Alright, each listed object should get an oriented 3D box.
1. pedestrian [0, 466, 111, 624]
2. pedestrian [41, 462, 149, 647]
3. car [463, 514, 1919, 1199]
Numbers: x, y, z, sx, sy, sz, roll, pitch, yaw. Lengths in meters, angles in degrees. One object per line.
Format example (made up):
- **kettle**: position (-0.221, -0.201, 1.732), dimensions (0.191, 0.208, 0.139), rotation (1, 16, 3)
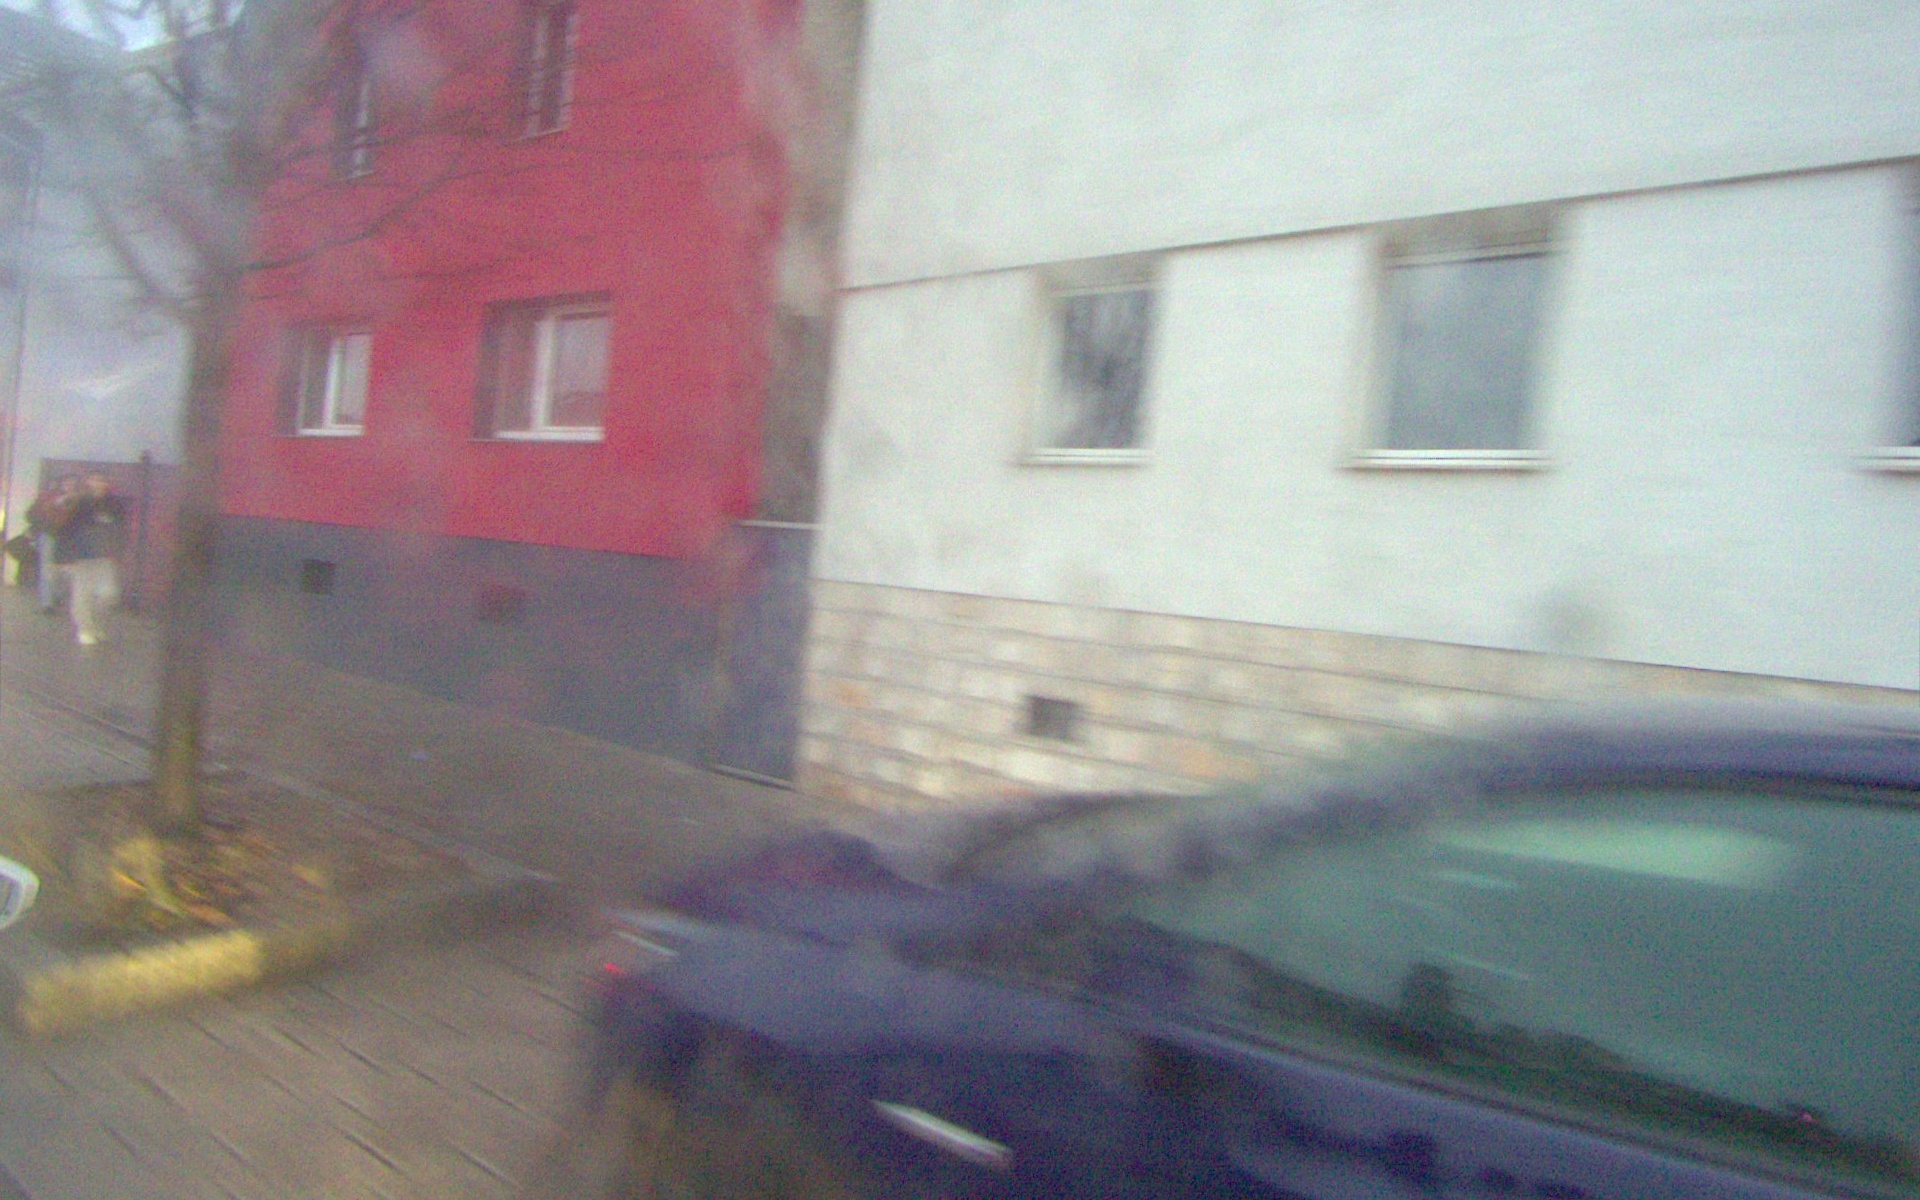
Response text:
- **pedestrian**: position (-10.442, -0.623, 11.577), dimensions (1.036, 1.700, 0.746), rotation (6, 1, 38)
- **pedestrian**: position (-8.392, -0.428, 9.750), dimensions (0.941, 1.672, 0.528), rotation (4, -2, 41)
- **car**: position (1.182, 0.798, 1.689), dimensions (4.131, 1.484, 1.727), rotation (7, 3, 34)
